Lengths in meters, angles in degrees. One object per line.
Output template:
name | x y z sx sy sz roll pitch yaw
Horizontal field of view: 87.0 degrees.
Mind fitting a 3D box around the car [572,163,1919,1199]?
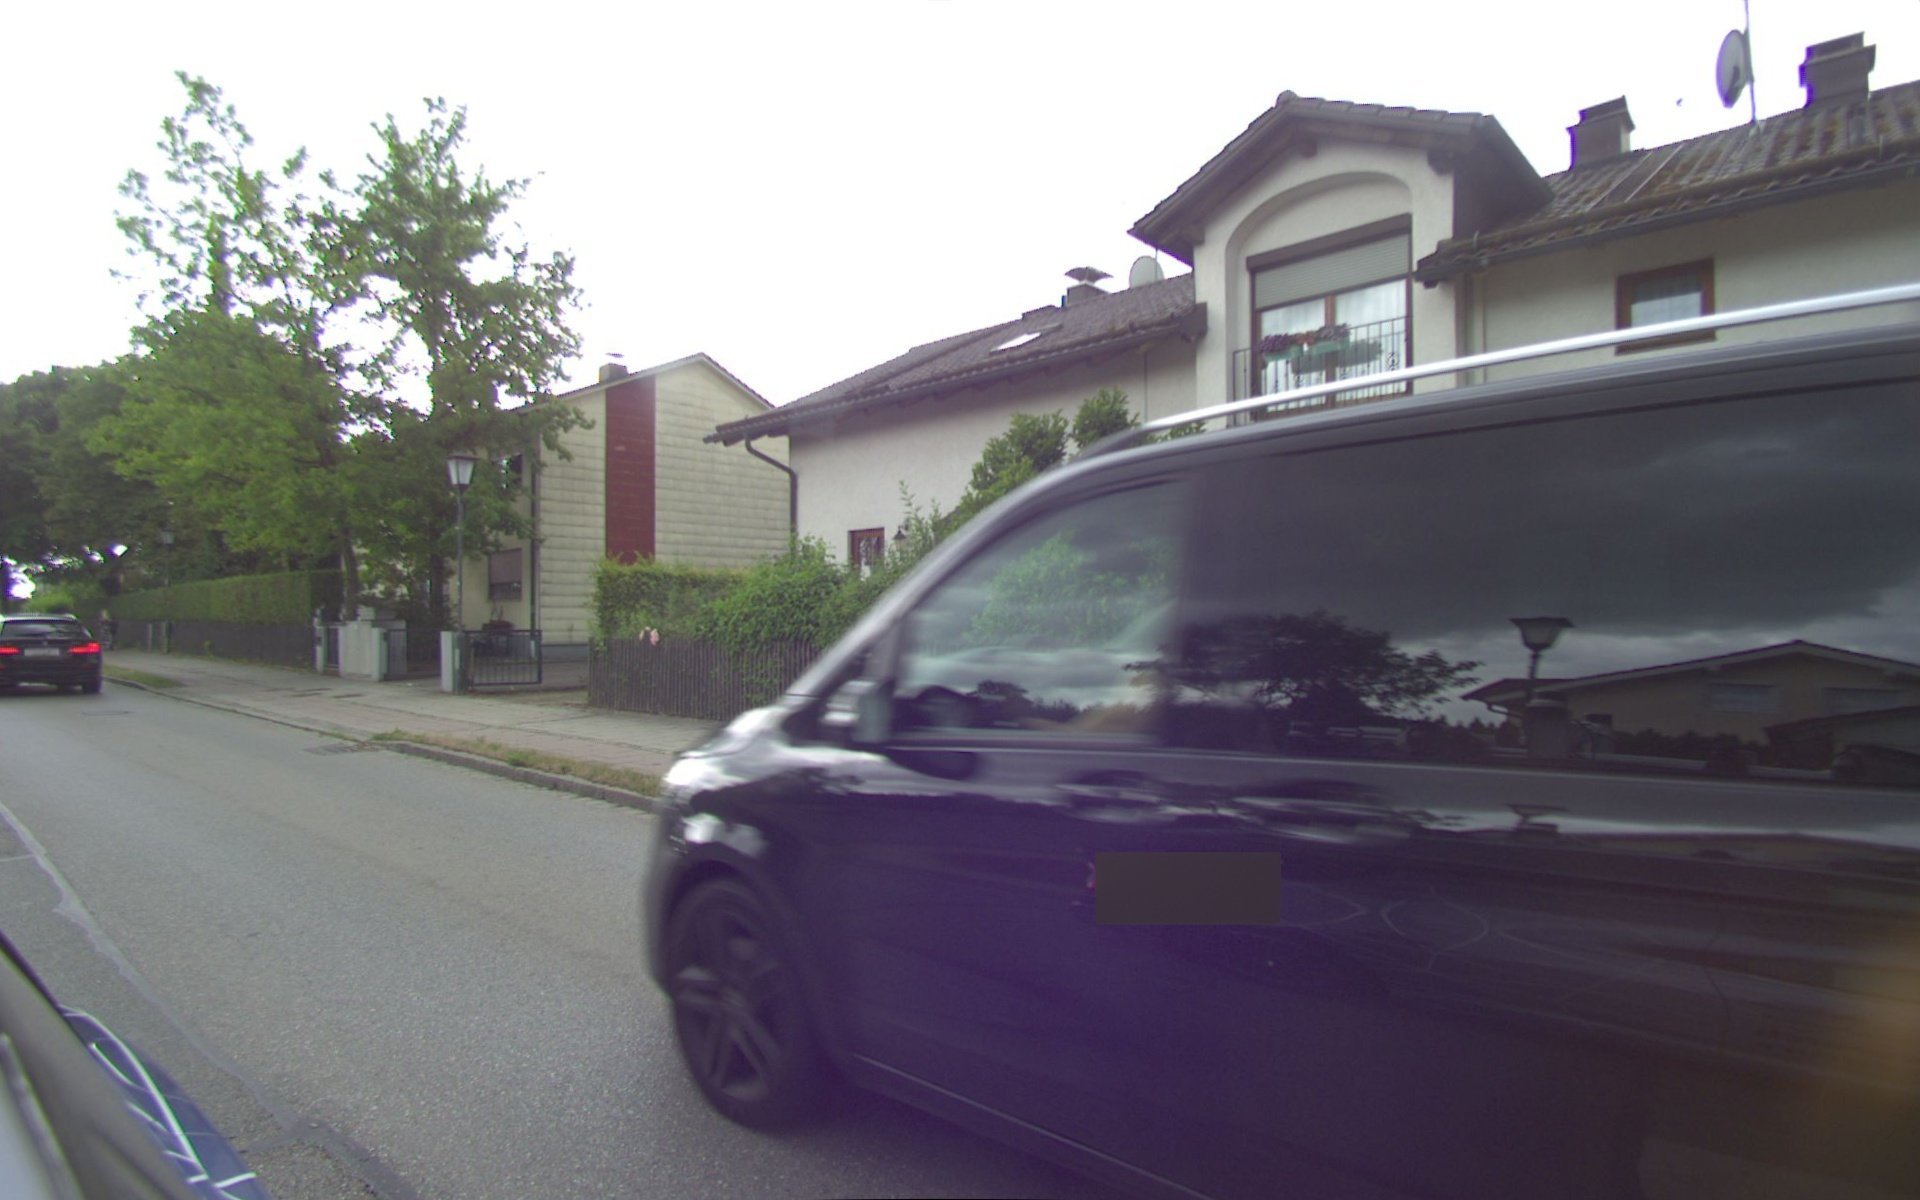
car | 1.234 0.453 2.333 4.946 1.867 1.944 -1 -1 42

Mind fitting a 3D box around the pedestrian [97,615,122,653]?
pedestrian | -32.367 1.290 38.518 0.563 1.448 0.623 -1 -1 41

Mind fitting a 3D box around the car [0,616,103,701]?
car | -17.919 1.041 19.316 4.548 1.465 1.826 -1 -1 42
